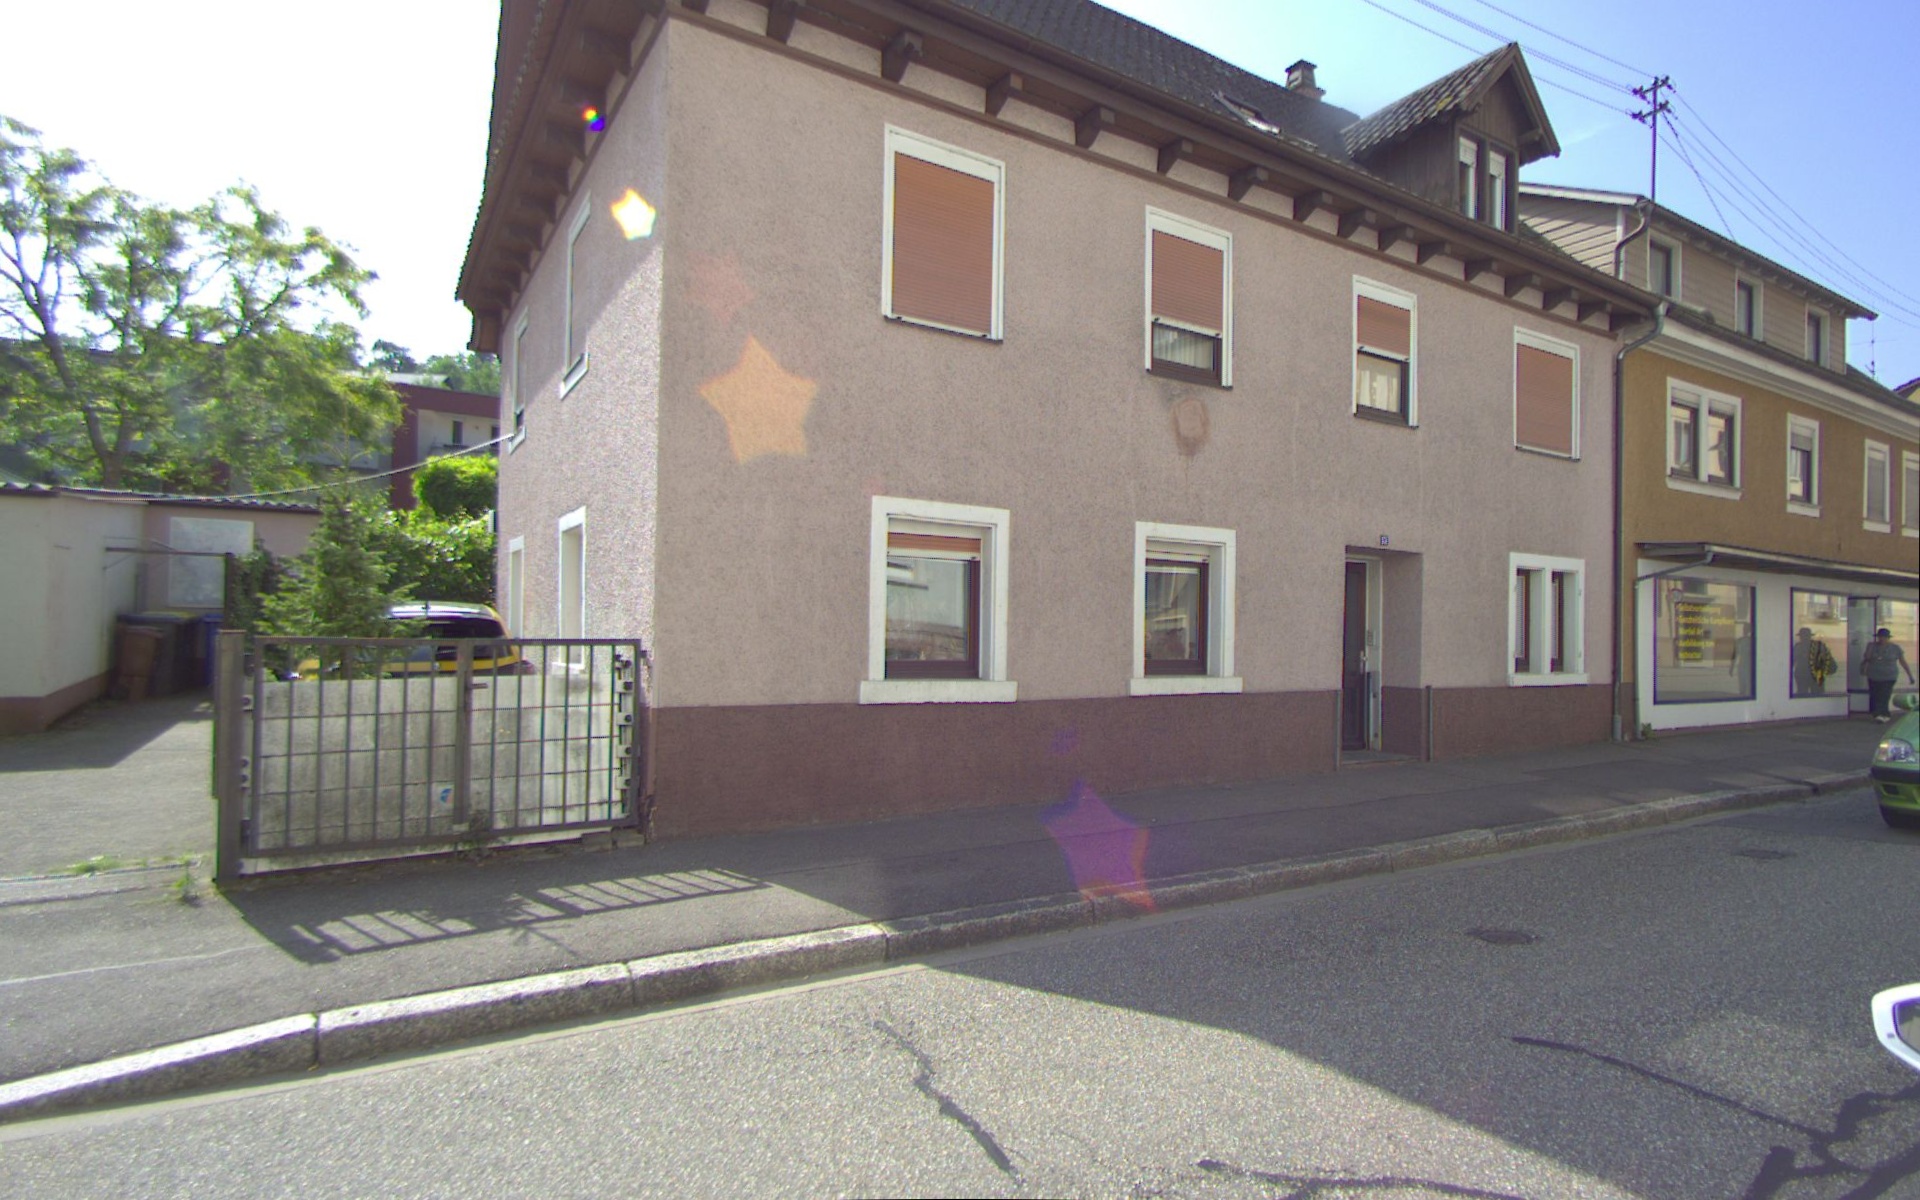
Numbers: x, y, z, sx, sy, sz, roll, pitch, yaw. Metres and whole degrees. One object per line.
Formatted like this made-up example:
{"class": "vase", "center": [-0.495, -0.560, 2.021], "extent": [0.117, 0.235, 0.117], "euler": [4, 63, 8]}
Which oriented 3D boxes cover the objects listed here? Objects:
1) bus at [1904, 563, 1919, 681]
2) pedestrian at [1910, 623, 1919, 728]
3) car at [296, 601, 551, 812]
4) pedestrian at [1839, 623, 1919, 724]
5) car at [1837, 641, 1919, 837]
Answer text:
{"class": "bus", "center": [30.945, 0.720, 29.471], "extent": [8.942, 3.271, 2.803], "euler": [1, 0, -34]}
{"class": "pedestrian", "center": [15.578, 1.211, 15.825], "extent": [0.768, 1.648, 0.636], "euler": [1, 2, -30]}
{"class": "car", "center": [-4.884, 0.750, 8.922], "extent": [1.628, 1.411, 3.728], "euler": [1, 0, -33]}
{"class": "pedestrian", "center": [15.230, 1.194, 16.637], "extent": [0.815, 1.585, 0.731], "euler": [1, 2, -30]}
{"class": "car", "center": [8.990, 1.067, 8.244], "extent": [3.617, 1.483, 1.590], "euler": [1, -4, -30]}
